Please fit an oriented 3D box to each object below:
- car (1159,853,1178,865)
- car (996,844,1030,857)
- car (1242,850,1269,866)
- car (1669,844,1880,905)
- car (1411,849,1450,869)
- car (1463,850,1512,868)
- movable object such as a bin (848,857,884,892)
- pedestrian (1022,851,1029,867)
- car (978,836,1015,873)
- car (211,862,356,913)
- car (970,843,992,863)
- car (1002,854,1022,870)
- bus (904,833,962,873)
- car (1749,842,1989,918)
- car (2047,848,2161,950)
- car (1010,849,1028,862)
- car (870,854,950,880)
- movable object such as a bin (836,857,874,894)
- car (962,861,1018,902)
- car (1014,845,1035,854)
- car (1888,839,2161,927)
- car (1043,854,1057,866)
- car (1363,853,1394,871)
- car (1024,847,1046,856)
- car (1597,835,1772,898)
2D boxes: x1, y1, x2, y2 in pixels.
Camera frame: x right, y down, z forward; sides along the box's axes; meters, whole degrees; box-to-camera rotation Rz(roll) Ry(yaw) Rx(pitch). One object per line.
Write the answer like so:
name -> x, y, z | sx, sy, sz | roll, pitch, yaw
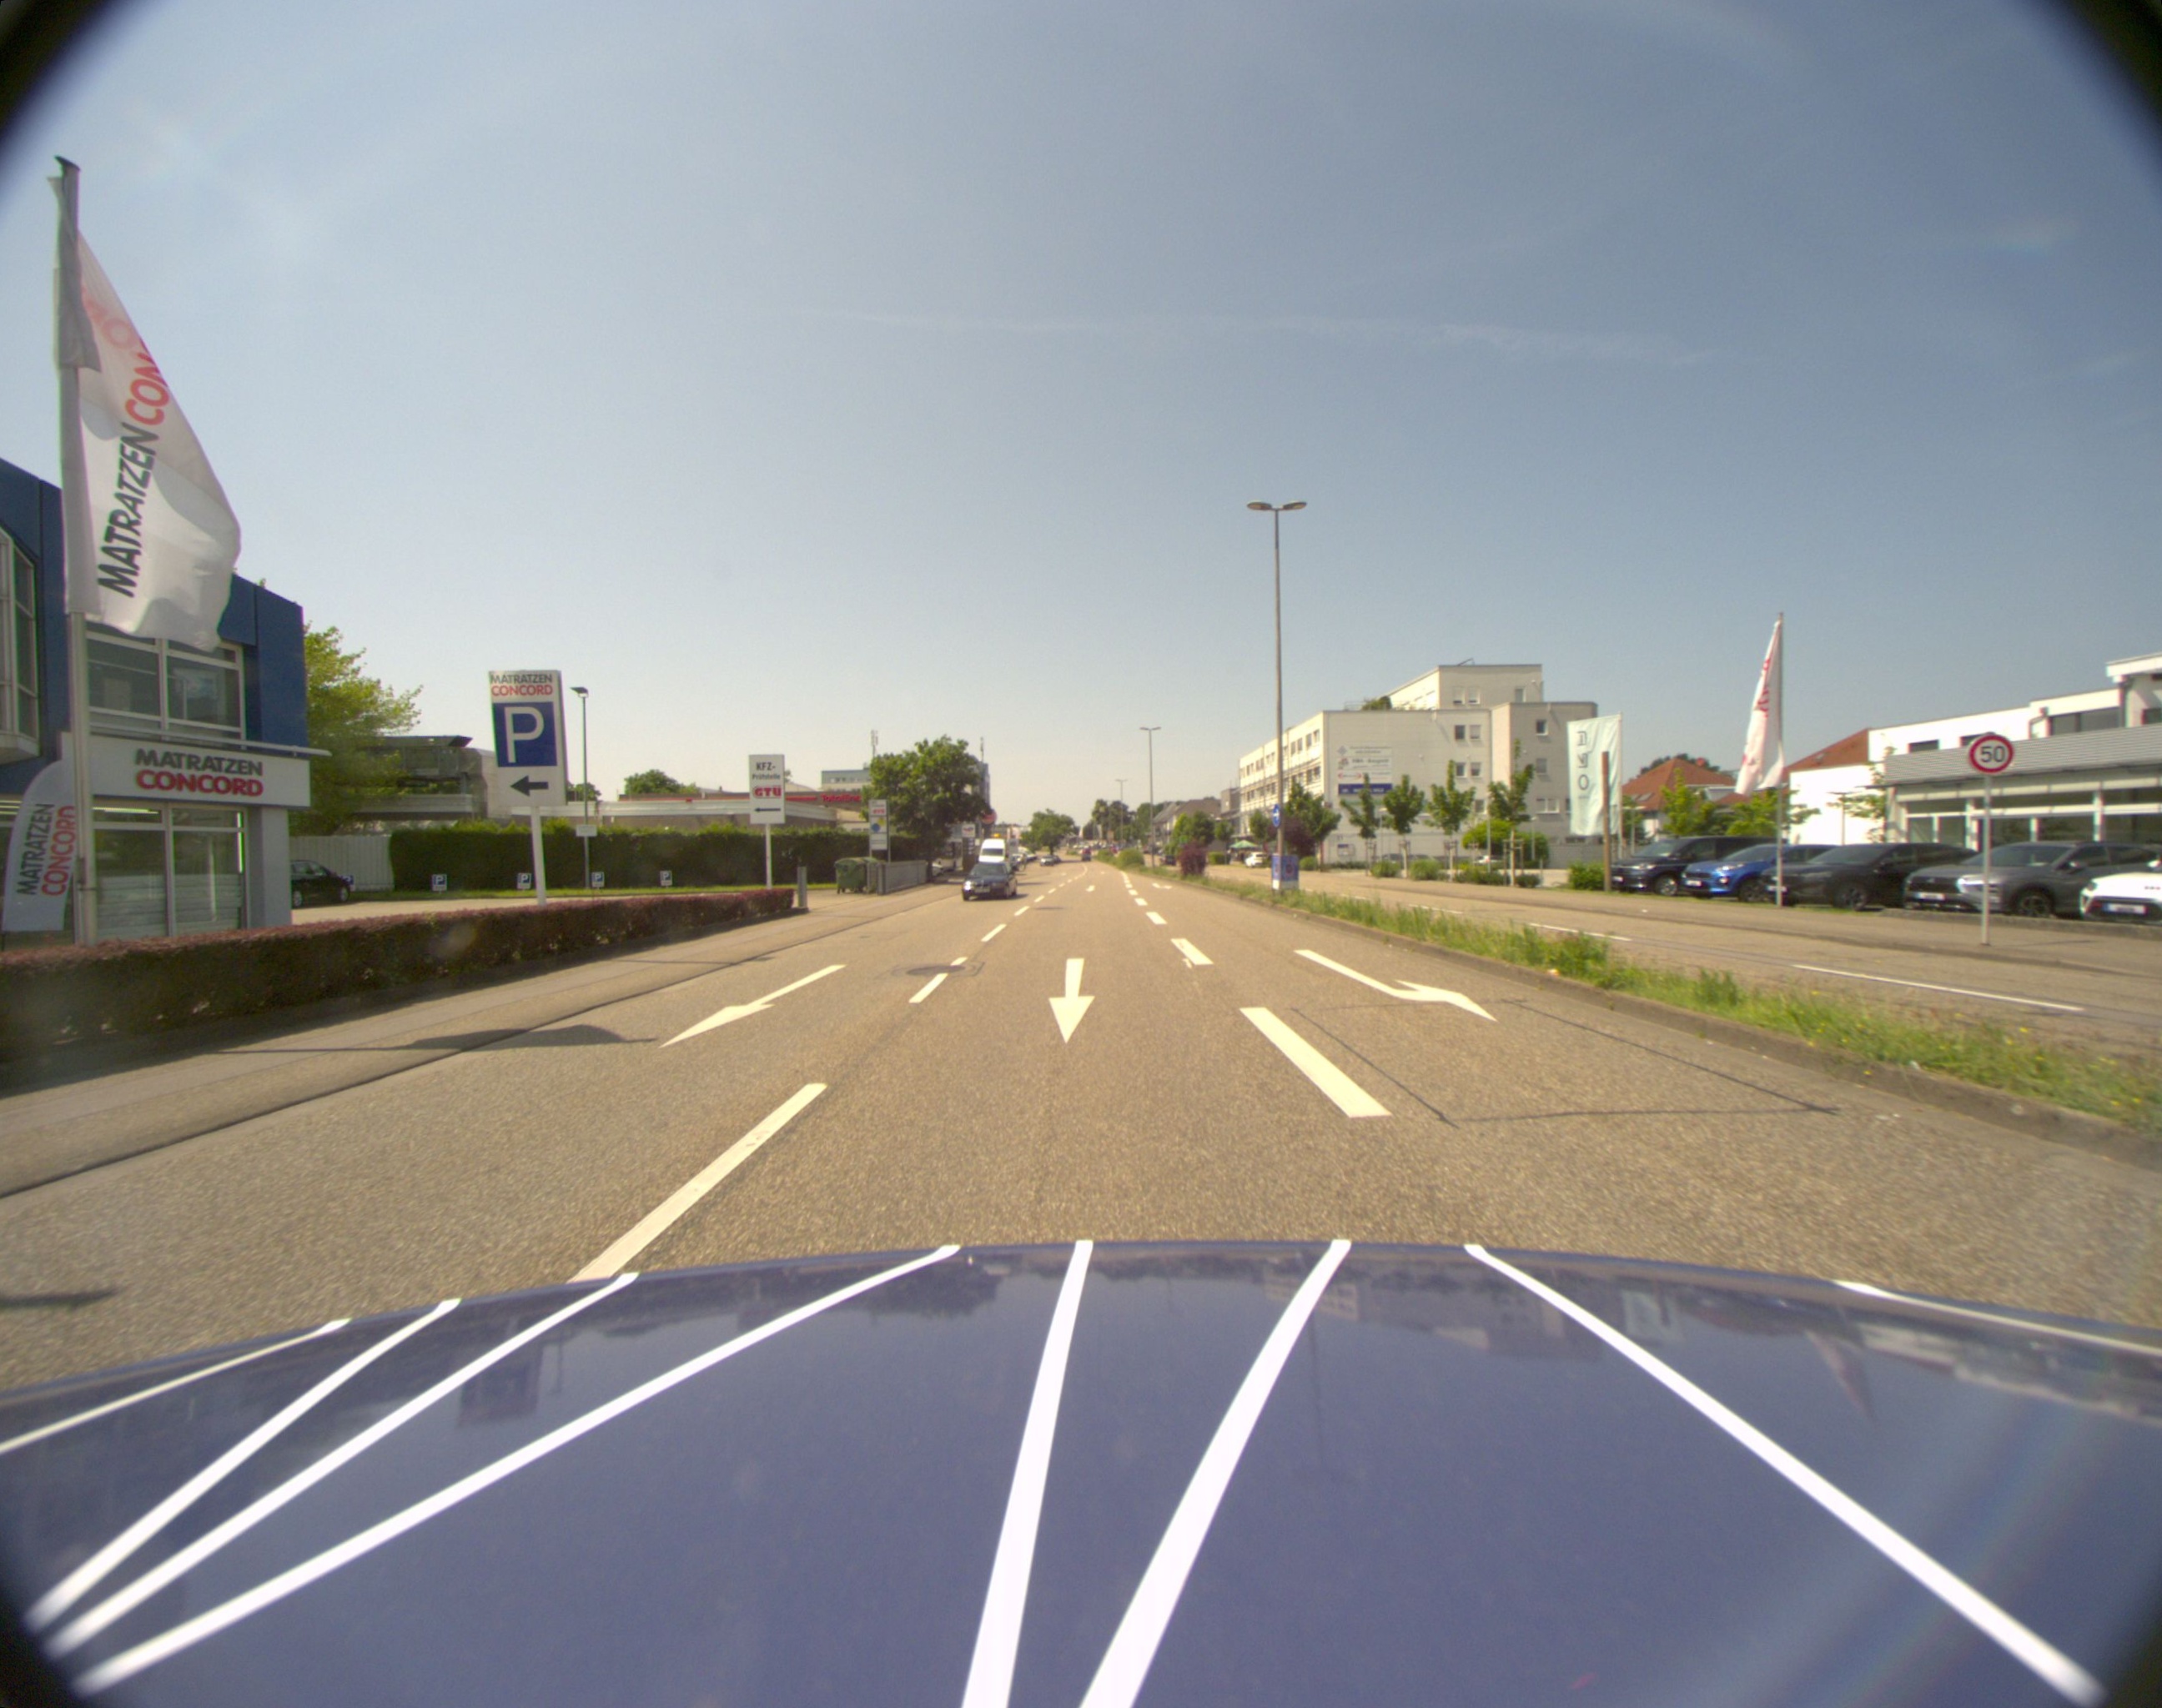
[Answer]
car -> 11.125, 0.606, 96.872 | 1.832, 1.452, 4.711 | 0, 0, -1
car -> -13.562, -0.627, 150.920 | 6.871, 2.589, 1.728 | 0, 1, 29
car -> 17.282, 0.399, 75.318 | 1.696, 1.440, 3.665 | -2, 0, -1
car -> 19.188, 0.533, 21.177 | 3.997, 1.599, 2.089 | 0, 1, -1
car -> 27.215, 0.338, 59.318 | 1.557, 1.510, 3.556 | 0, 0, 3
car -> 31.879, 0.372, 59.665 | 1.924, 1.376, 3.834 | 0, 0, 3
movable object such as a bin -> -9.398, 0.876, 33.344 | 1.133, 1.461, 1.489 | 0, 1, 1
pedestrian -> -5.695, 0.541, 77.857 | 0.704, 1.572, 0.820 | 2, 1, -3
car -> -6.648, 0.047, 60.867 | 2.183, 2.757, 7.277 | 1, 0, -1
car -> -25.831, 1.027, 24.817 | 1.518, 1.463, 3.994 | 0, 0, -18
car -> -12.062, -0.141, 92.003 | 2.058, 2.421, 5.574 | 0, 1, -2
car -> -6.736, 0.760, 74.265 | 1.681, 1.440, 3.840 | 1, 0, -1
bus -> -12.525, -0.103, 65.163 | 2.755, 3.134, 9.079 | 0, 0, 2
car -> 18.978, 0.598, 18.432 | 3.997, 1.599, 1.759 | 2, 1, -1
car -> 19.103, 0.699, 12.441 | 3.996, 1.599, 1.925 | 0, 1, 2
car -> -7.543, 0.153, 92.804 | 1.860, 1.572, 3.999 | 1, 0, 0
car -> -10.864, 0.812, 48.576 | 4.633, 1.518, 1.907 | 2, 1, 2
movable object such as a bin -> -9.435, 0.887, 31.784 | 1.133, 1.461, 1.489 | 0, 1, 1
car -> -3.386, 0.997, 28.898 | 1.632, 1.331, 3.756 | -2, 0, 0
car -> -10.899, -0.837, 146.604 | 3.999, 1.755, 1.724 | 0, 1, -5
car -> 19.198, 0.560, 15.308 | 3.997, 1.559, 1.759 | 2, 1, -1
car -> -4.336, 0.812, 106.201 | 1.867, 1.550, 3.999 | 0, 0, -1
car -> 23.843, 0.627, 60.920 | 1.456, 1.332, 2.833 | 0, 0, 3
car -> -8.491, -0.507, 141.028 | 3.999, 1.755, 1.724 | 0, 1, -5
car -> 19.058, 0.377, 24.134 | 3.997, 1.871, 2.000 | -1, 1, -1
